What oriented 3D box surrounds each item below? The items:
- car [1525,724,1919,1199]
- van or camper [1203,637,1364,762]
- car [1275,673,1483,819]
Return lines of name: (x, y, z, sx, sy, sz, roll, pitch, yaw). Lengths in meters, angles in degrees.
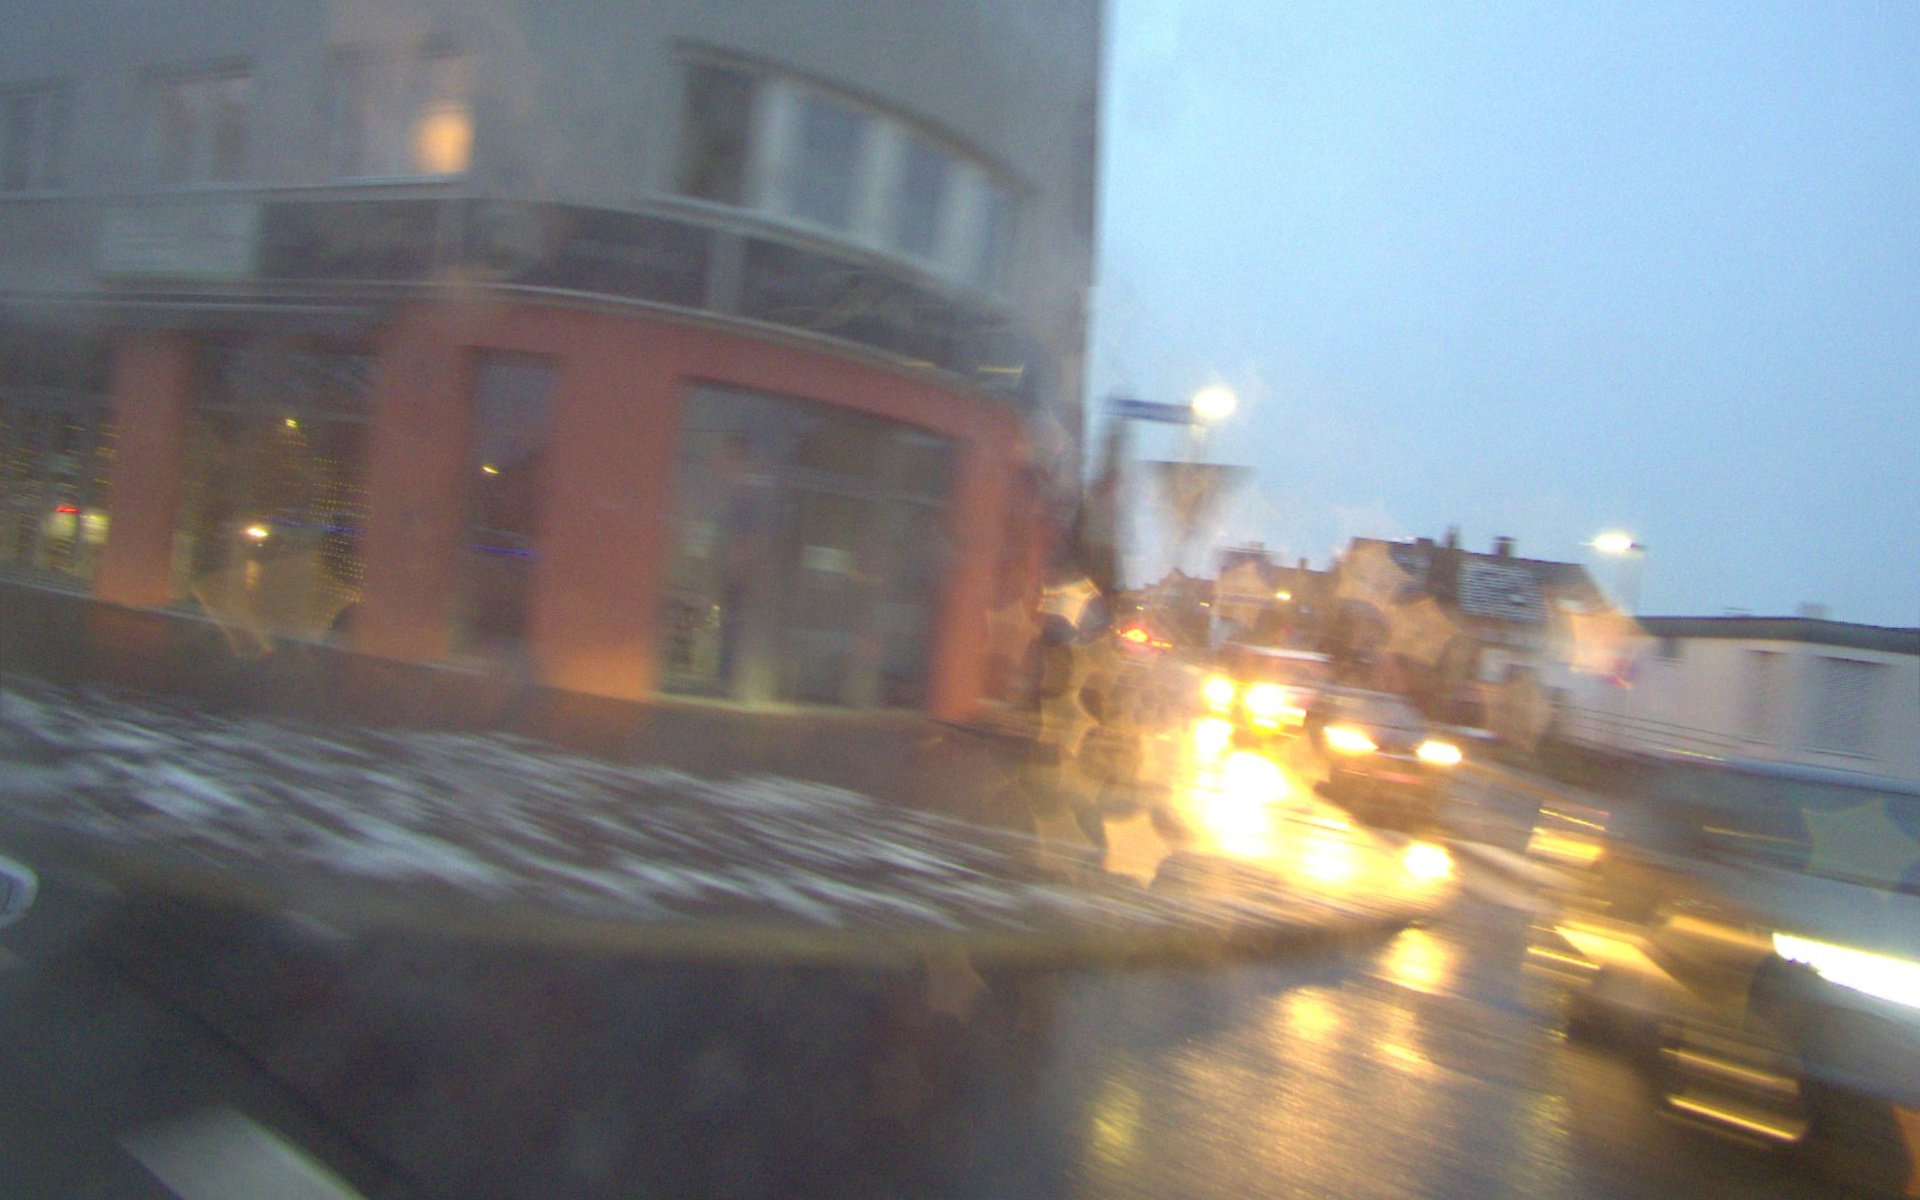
car: (4.316, 1.568, 4.880, 1.764, 1.457, 4.189, 9, -2, 18)
van or camper: (8.260, 2.428, 26.886, 2.409, 2.358, 9.199, 10, -1, 10)
car: (6.821, 2.297, 16.920, 2.008, 1.807, 4.137, 8, -2, 8)
